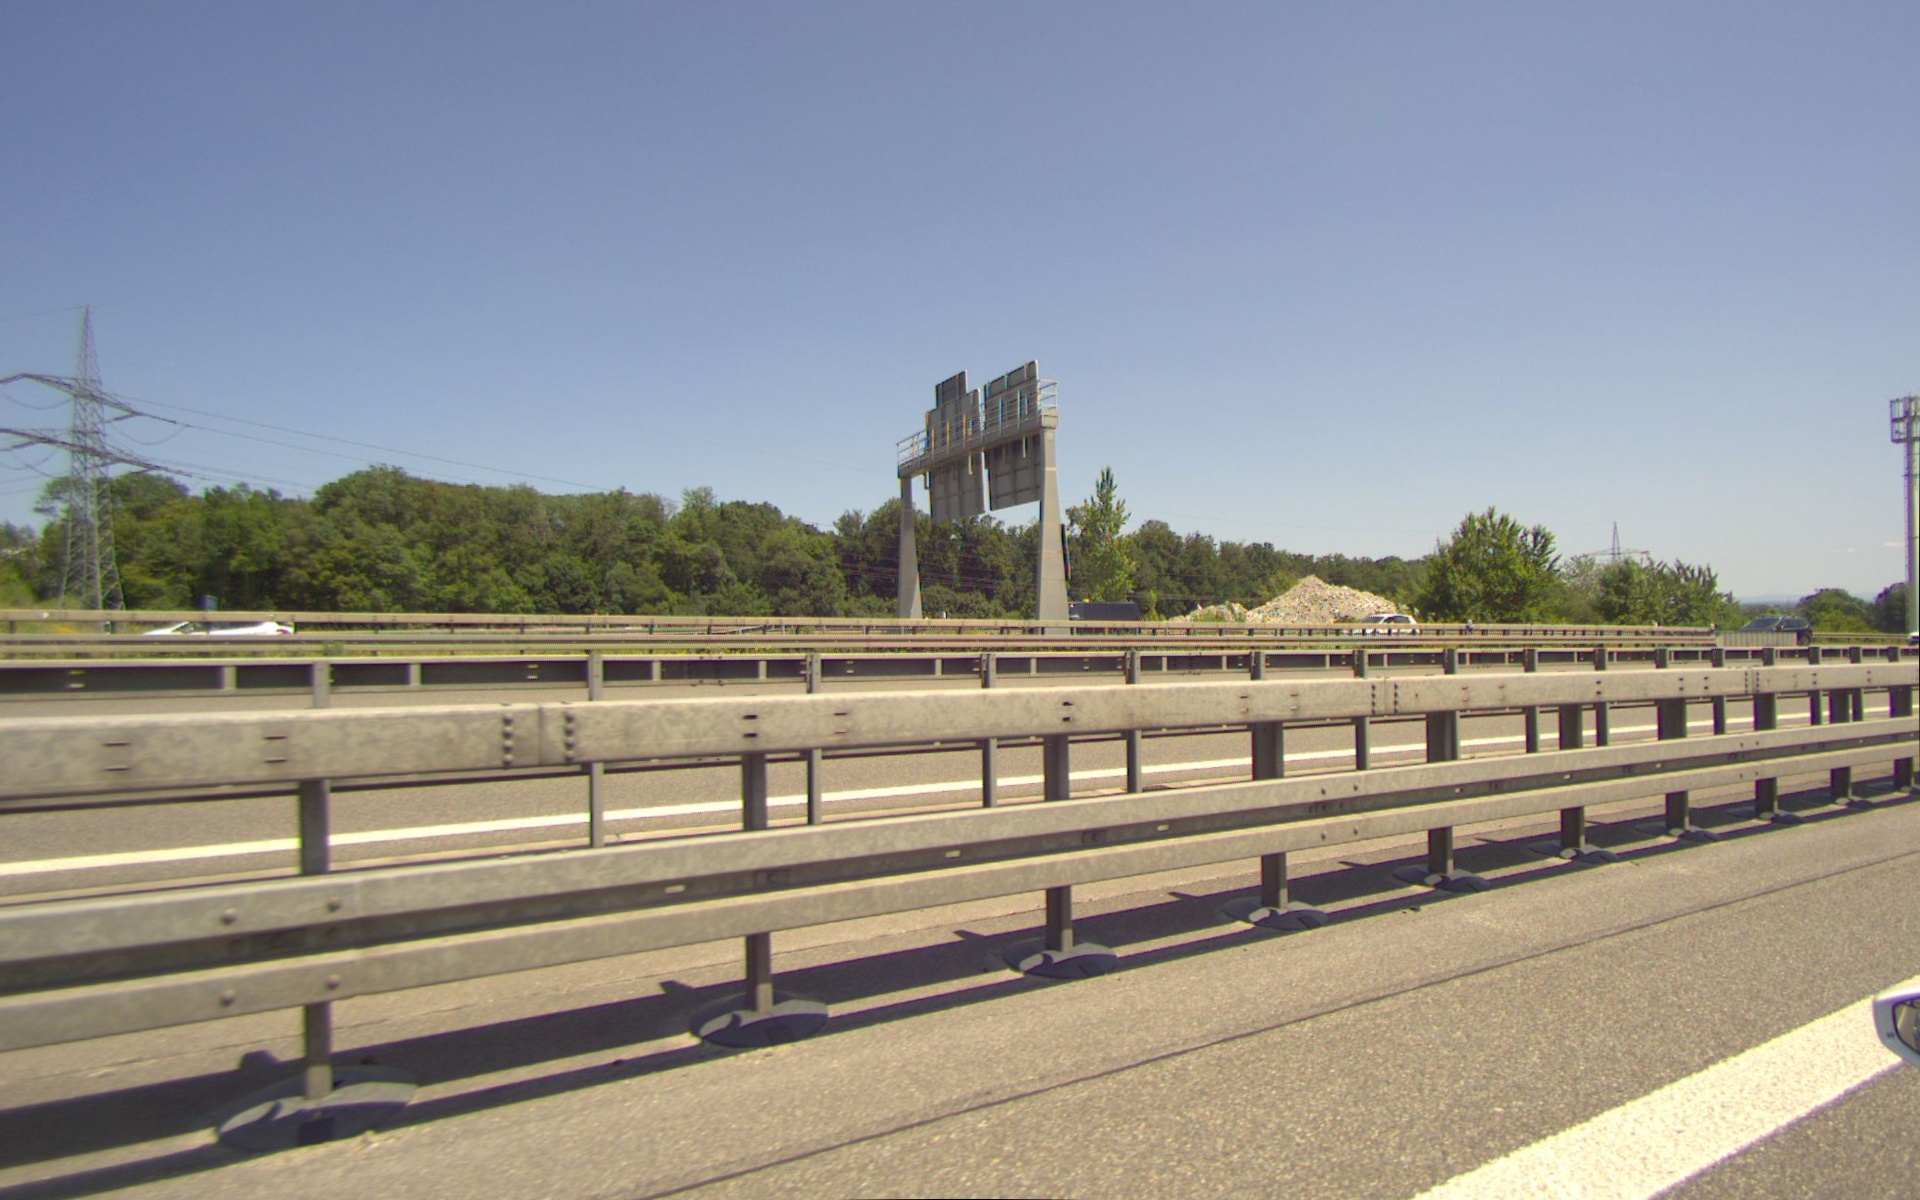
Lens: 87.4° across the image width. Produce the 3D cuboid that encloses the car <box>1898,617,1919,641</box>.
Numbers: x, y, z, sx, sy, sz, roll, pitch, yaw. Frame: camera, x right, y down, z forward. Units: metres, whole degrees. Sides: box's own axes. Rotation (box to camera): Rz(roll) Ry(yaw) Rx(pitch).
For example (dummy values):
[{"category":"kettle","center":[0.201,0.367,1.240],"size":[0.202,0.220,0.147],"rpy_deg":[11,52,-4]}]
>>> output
[{"category":"car","center":[65.503,1.995,67.722],"size":[3.949,1.602,2.084],"rpy_deg":[1,0,-27]}]

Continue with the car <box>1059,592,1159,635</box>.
[{"category":"car","center":[6.446,0.568,43.484],"size":[3.949,1.767,1.862],"rpy_deg":[1,0,-27]}]

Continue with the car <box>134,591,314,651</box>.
[{"category":"car","center":[-21.112,0.600,29.036],"size":[3.953,1.639,1.984],"rpy_deg":[1,0,-30]}]

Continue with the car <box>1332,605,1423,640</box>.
[{"category":"car","center":[20.977,1.119,50.478],"size":[4.333,1.639,1.862],"rpy_deg":[1,0,-27]}]
